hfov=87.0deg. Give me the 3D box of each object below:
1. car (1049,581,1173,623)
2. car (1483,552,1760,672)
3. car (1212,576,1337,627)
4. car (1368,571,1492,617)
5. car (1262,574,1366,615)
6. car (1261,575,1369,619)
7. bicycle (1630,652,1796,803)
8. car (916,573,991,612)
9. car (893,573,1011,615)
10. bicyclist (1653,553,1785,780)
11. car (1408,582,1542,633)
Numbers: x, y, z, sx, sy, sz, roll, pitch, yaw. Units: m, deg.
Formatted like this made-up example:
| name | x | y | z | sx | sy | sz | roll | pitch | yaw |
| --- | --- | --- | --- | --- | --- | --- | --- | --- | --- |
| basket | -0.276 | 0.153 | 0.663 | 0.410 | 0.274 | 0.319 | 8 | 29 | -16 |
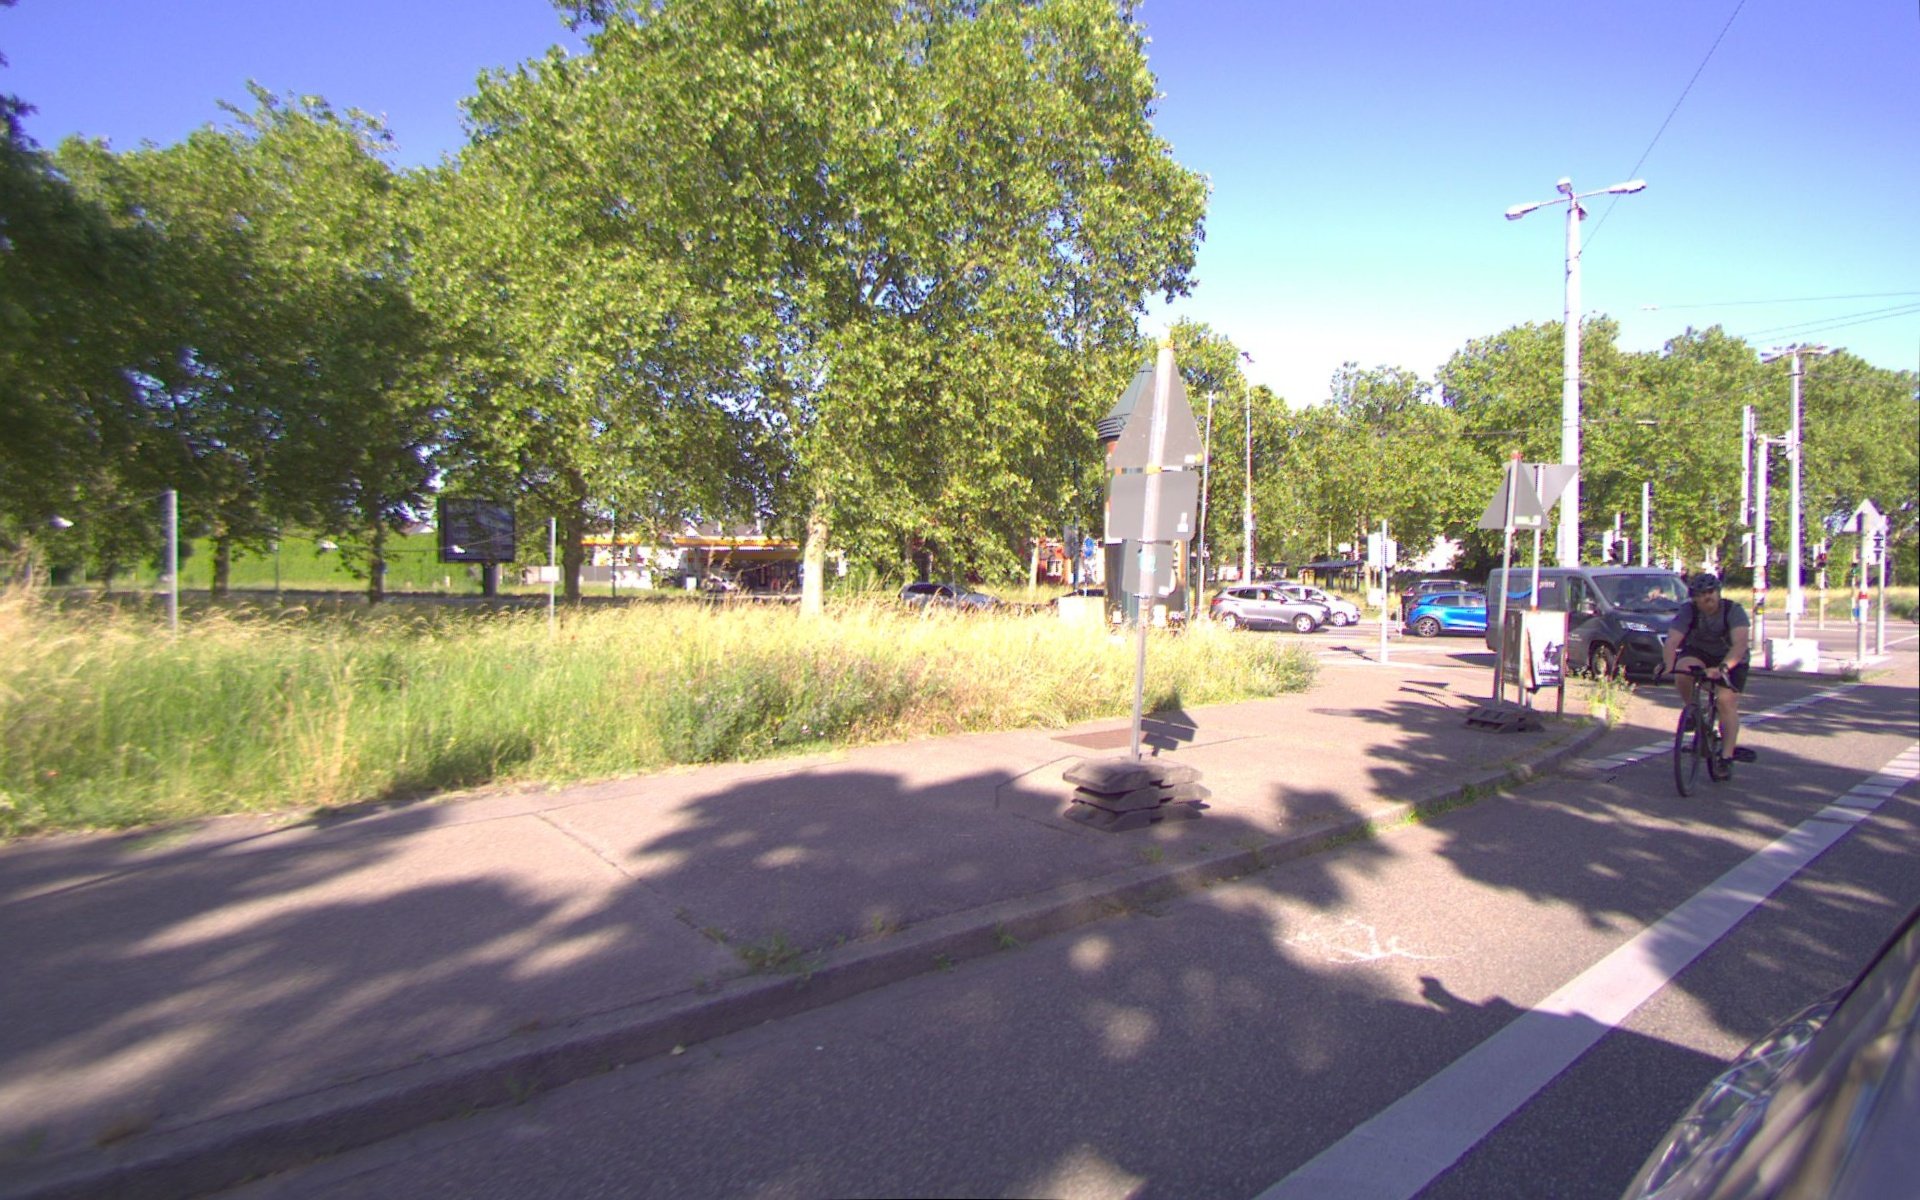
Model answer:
| name | x | y | z | sx | sy | sz | roll | pitch | yaw |
| --- | --- | --- | --- | --- | --- | --- | --- | --- | --- |
| car | 5.974 | 0.055 | 39.953 | 4.521 | 1.424 | 1.920 | 1 | 5 | 25 |
| car | 12.968 | 0.131 | 20.367 | 2.089 | 2.096 | 5.122 | 0 | 2 | -1 |
| car | 11.376 | 0.013 | 36.568 | 4.130 | 1.699 | 1.919 | 1 | 1 | 24 |
| car | 19.065 | -0.274 | 41.196 | 4.447 | 1.732 | 1.905 | 1 | 2 | 25 |
| car | 14.912 | -0.246 | 42.641 | 3.958 | 1.638 | 1.983 | 1 | 1 | 25 |
| car | 13.948 | -0.145 | 39.783 | 3.824 | 1.620 | 1.696 | 1 | 1 | 28 |
| bicycle | 6.041 | 0.956 | 8.078 | 2.051 | 0.934 | 0.525 | -2 | 2 | -38 |
| car | -0.305 | -0.364 | 46.598 | 3.174 | 1.635 | 1.363 | 1 | 5 | 25 |
| car | -0.355 | -0.241 | 43.341 | 4.726 | 1.703 | 1.893 | -1 | 2 | 26 |
| bicyclist | 6.080 | 0.479 | 8.099 | 0.917 | 1.700 | 0.616 | -1 | 2 | -39 |
| car | 17.067 | 0.224 | 33.749 | 3.815 | 1.620 | 1.700 | 0 | 1 | 23 |
